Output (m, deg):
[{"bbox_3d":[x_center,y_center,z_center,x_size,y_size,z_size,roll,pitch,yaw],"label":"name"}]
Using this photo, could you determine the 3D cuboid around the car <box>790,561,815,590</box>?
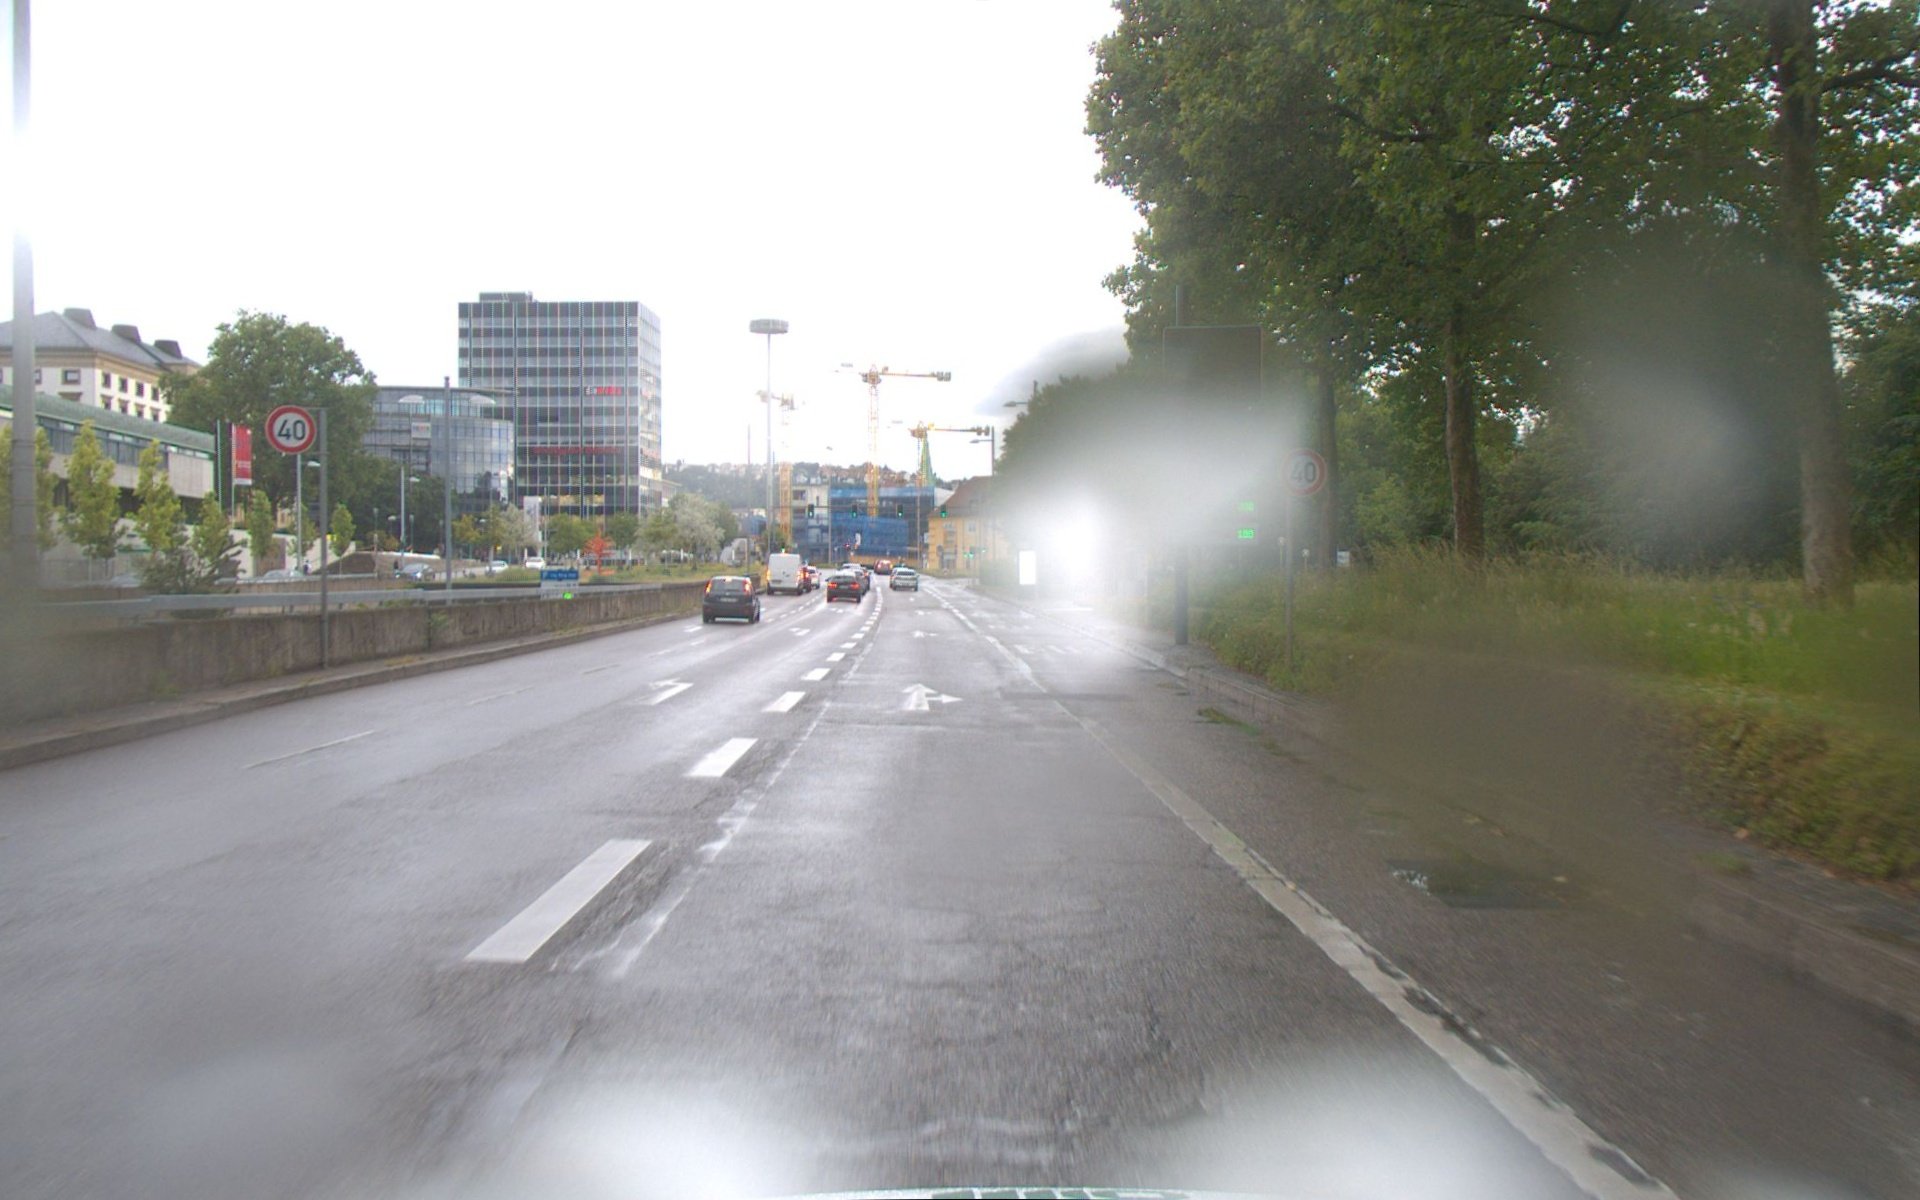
[{"bbox_3d":[-9.841,-1.527,103.500,1.435,1.736,3.138,1,1,-5],"label":"car"}]

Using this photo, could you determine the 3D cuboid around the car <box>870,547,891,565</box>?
[{"bbox_3d":[-8.777,-4.824,182.183,2.117,1.912,3.771,1,1,0],"label":"car"}]

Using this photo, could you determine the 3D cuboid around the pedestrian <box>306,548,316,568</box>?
[{"bbox_3d":[-48.079,-3.114,122.488,0.482,1.447,0.632,1,1,-6],"label":"pedestrian"}]

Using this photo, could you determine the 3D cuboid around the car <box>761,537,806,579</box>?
[{"bbox_3d":[-10.275,-2.430,96.442,2.246,2.354,5.004,1,1,-2],"label":"car"}]

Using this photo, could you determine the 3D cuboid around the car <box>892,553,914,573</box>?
[{"bbox_3d":[-3.942,-2.560,114.719,1.415,1.383,2.412,1,1,0],"label":"car"}]

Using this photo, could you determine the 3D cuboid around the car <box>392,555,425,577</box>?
[{"bbox_3d":[-38.172,-2.345,114.510,1.435,1.465,2.961,1,1,-3],"label":"car"}]

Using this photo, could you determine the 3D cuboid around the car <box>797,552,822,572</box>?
[{"bbox_3d":[-10.288,-2.606,113.141,1.520,1.282,2.579,1,1,-3],"label":"car"}]

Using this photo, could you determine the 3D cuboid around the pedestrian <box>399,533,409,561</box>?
[{"bbox_3d":[-44.809,-4.275,133.239,0.714,2.126,0.765,-1,7,-23],"label":"pedestrian"}]

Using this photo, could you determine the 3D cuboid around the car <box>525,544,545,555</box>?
[{"bbox_3d":[-44.814,-5.292,174.376,1.411,1.133,3.019,1,1,-3],"label":"car"}]

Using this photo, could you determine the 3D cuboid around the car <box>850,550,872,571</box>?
[{"bbox_3d":[-6.836,-2.740,114.028,1.463,1.393,3.032,1,1,-3],"label":"car"}]

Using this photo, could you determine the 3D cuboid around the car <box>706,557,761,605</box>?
[{"bbox_3d":[-7.209,-0.607,52.831,1.512,1.440,3.898,1,1,-5],"label":"car"}]

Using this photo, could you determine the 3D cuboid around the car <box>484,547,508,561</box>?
[{"bbox_3d":[-43.153,-4.291,153.894,1.379,1.277,3.166,1,1,0],"label":"car"}]

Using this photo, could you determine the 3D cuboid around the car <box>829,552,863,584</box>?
[{"bbox_3d":[-5.954,-1.679,86.438,1.719,1.496,4.220,1,3,-4],"label":"car"}]

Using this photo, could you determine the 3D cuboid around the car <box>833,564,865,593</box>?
[{"bbox_3d":[-6.804,-1.322,101.394,1.844,1.681,3.454,1,1,-6],"label":"car"}]
